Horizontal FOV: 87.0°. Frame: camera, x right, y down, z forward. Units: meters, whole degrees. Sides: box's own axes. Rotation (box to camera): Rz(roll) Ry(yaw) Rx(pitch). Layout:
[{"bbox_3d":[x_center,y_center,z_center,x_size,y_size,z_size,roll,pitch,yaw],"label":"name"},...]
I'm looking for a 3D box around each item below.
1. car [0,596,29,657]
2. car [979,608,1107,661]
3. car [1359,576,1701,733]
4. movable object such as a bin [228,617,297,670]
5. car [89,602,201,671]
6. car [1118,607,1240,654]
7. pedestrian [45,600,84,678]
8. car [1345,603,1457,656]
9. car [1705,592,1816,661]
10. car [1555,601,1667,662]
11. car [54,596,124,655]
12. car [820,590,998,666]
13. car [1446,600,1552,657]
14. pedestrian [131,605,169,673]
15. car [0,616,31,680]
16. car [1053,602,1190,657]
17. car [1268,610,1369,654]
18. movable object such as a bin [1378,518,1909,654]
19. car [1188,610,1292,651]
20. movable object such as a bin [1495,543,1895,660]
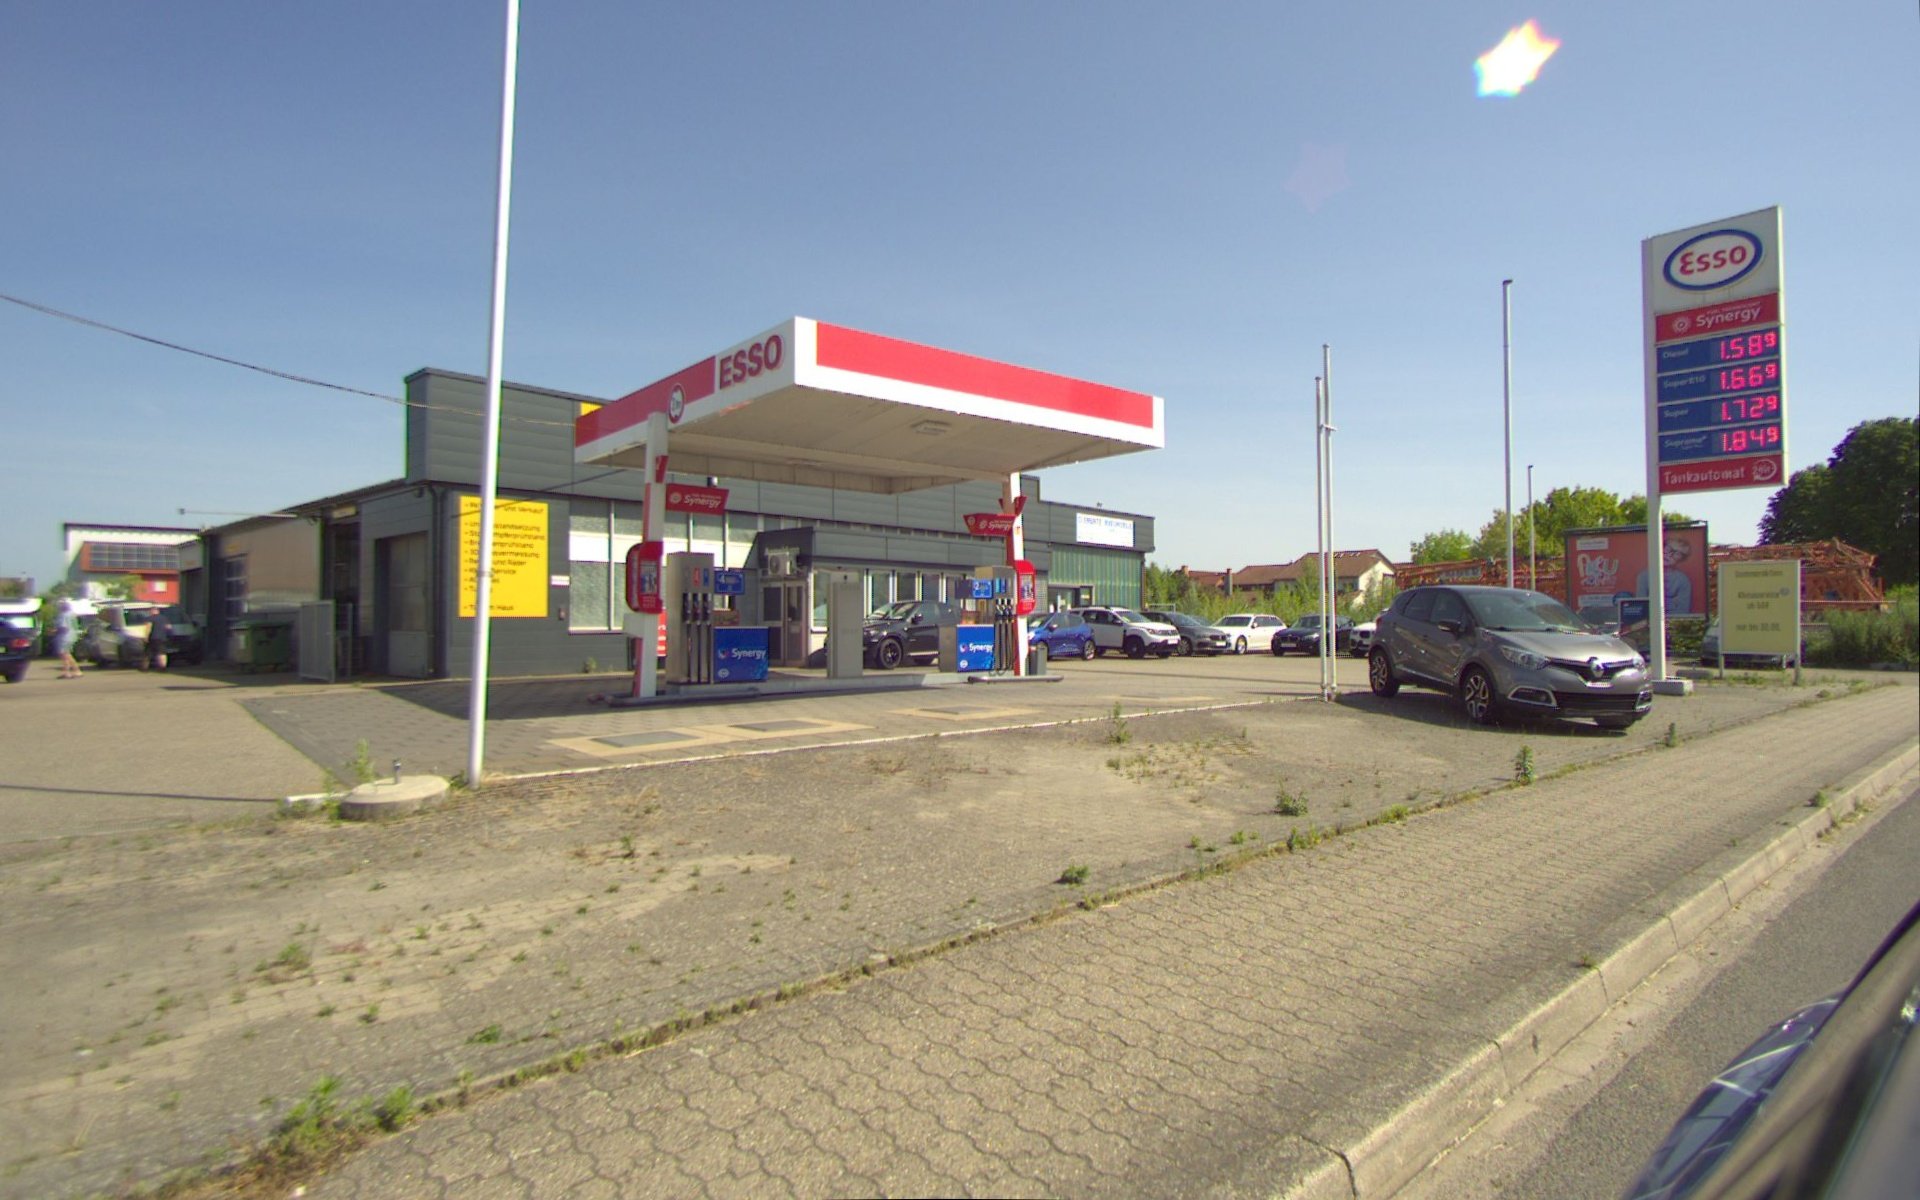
[{"bbox_3d":[-44.639,1.215,46.913,5.171,2.736,1.765,-1,-1,43],"label":"car"},{"bbox_3d":[2.538,0.992,30.324,1.790,1.450,4.066,-1,-1,41],"label":"car"},{"bbox_3d":[6.693,0.526,12.505,1.740,1.574,4.184,1,1,-1],"label":"car"},{"bbox_3d":[-17.971,1.095,26.079,1.170,1.312,1.258,-1,-1,43],"label":"movable object such as a bin"},{"bbox_3d":[-24.823,1.049,30.762,5.165,1.928,1.905,-1,-1,43],"label":"car"},{"bbox_3d":[7.365,1.002,34.240,1.781,1.493,3.681,0,-1,-43],"label":"car"},{"bbox_3d":[-22.085,0.940,24.971,0.500,1.889,0.603,-1,-1,33],"label":"pedestrian"},{"bbox_3d":[14.413,0.908,33.001,1.998,1.612,4.270,-1,-1,44],"label":"car"},{"bbox_3d":[21.665,0.710,27.333,4.296,1.708,1.805,2,-1,-44],"label":"car"},{"bbox_3d":[18.500,0.842,28.694,1.969,1.612,3.937,-1,-1,44],"label":"car"},{"bbox_3d":[-42.507,1.220,49.336,5.171,2.736,1.993,-1,-1,43],"label":"car"},{"bbox_3d":[-1.190,0.735,25.815,1.801,1.764,4.748,-2,-3,40],"label":"car"},{"bbox_3d":[16.551,0.831,31.014,1.841,1.612,4.041,-1,-1,44],"label":"car"},{"bbox_3d":[-21.634,1.027,27.033,0.647,1.770,0.638,-1,-1,35],"label":"pedestrian"},{"bbox_3d":[-22.683,1.159,23.375,1.781,1.394,3.621,0,-3,-43],"label":"car"},{"bbox_3d":[5.155,0.911,32.615,1.781,1.655,4.143,0,-1,-43],"label":"car"},{"bbox_3d":[12.317,1.058,34.657,1.841,1.404,3.937,-1,-1,44],"label":"car"},{"bbox_3d":[23.801,-0.310,37.292,2.724,4.070,16.080,1,-1,-40],"label":"movable object such as a bin"},{"bbox_3d":[10.237,1.066,36.818,1.841,1.404,4.307,-1,-1,44],"label":"car"},{"bbox_3d":[30.026,0.147,42.485,2.812,4.219,13.277,1,-1,-40],"label":"movable object such as a bin"}]
